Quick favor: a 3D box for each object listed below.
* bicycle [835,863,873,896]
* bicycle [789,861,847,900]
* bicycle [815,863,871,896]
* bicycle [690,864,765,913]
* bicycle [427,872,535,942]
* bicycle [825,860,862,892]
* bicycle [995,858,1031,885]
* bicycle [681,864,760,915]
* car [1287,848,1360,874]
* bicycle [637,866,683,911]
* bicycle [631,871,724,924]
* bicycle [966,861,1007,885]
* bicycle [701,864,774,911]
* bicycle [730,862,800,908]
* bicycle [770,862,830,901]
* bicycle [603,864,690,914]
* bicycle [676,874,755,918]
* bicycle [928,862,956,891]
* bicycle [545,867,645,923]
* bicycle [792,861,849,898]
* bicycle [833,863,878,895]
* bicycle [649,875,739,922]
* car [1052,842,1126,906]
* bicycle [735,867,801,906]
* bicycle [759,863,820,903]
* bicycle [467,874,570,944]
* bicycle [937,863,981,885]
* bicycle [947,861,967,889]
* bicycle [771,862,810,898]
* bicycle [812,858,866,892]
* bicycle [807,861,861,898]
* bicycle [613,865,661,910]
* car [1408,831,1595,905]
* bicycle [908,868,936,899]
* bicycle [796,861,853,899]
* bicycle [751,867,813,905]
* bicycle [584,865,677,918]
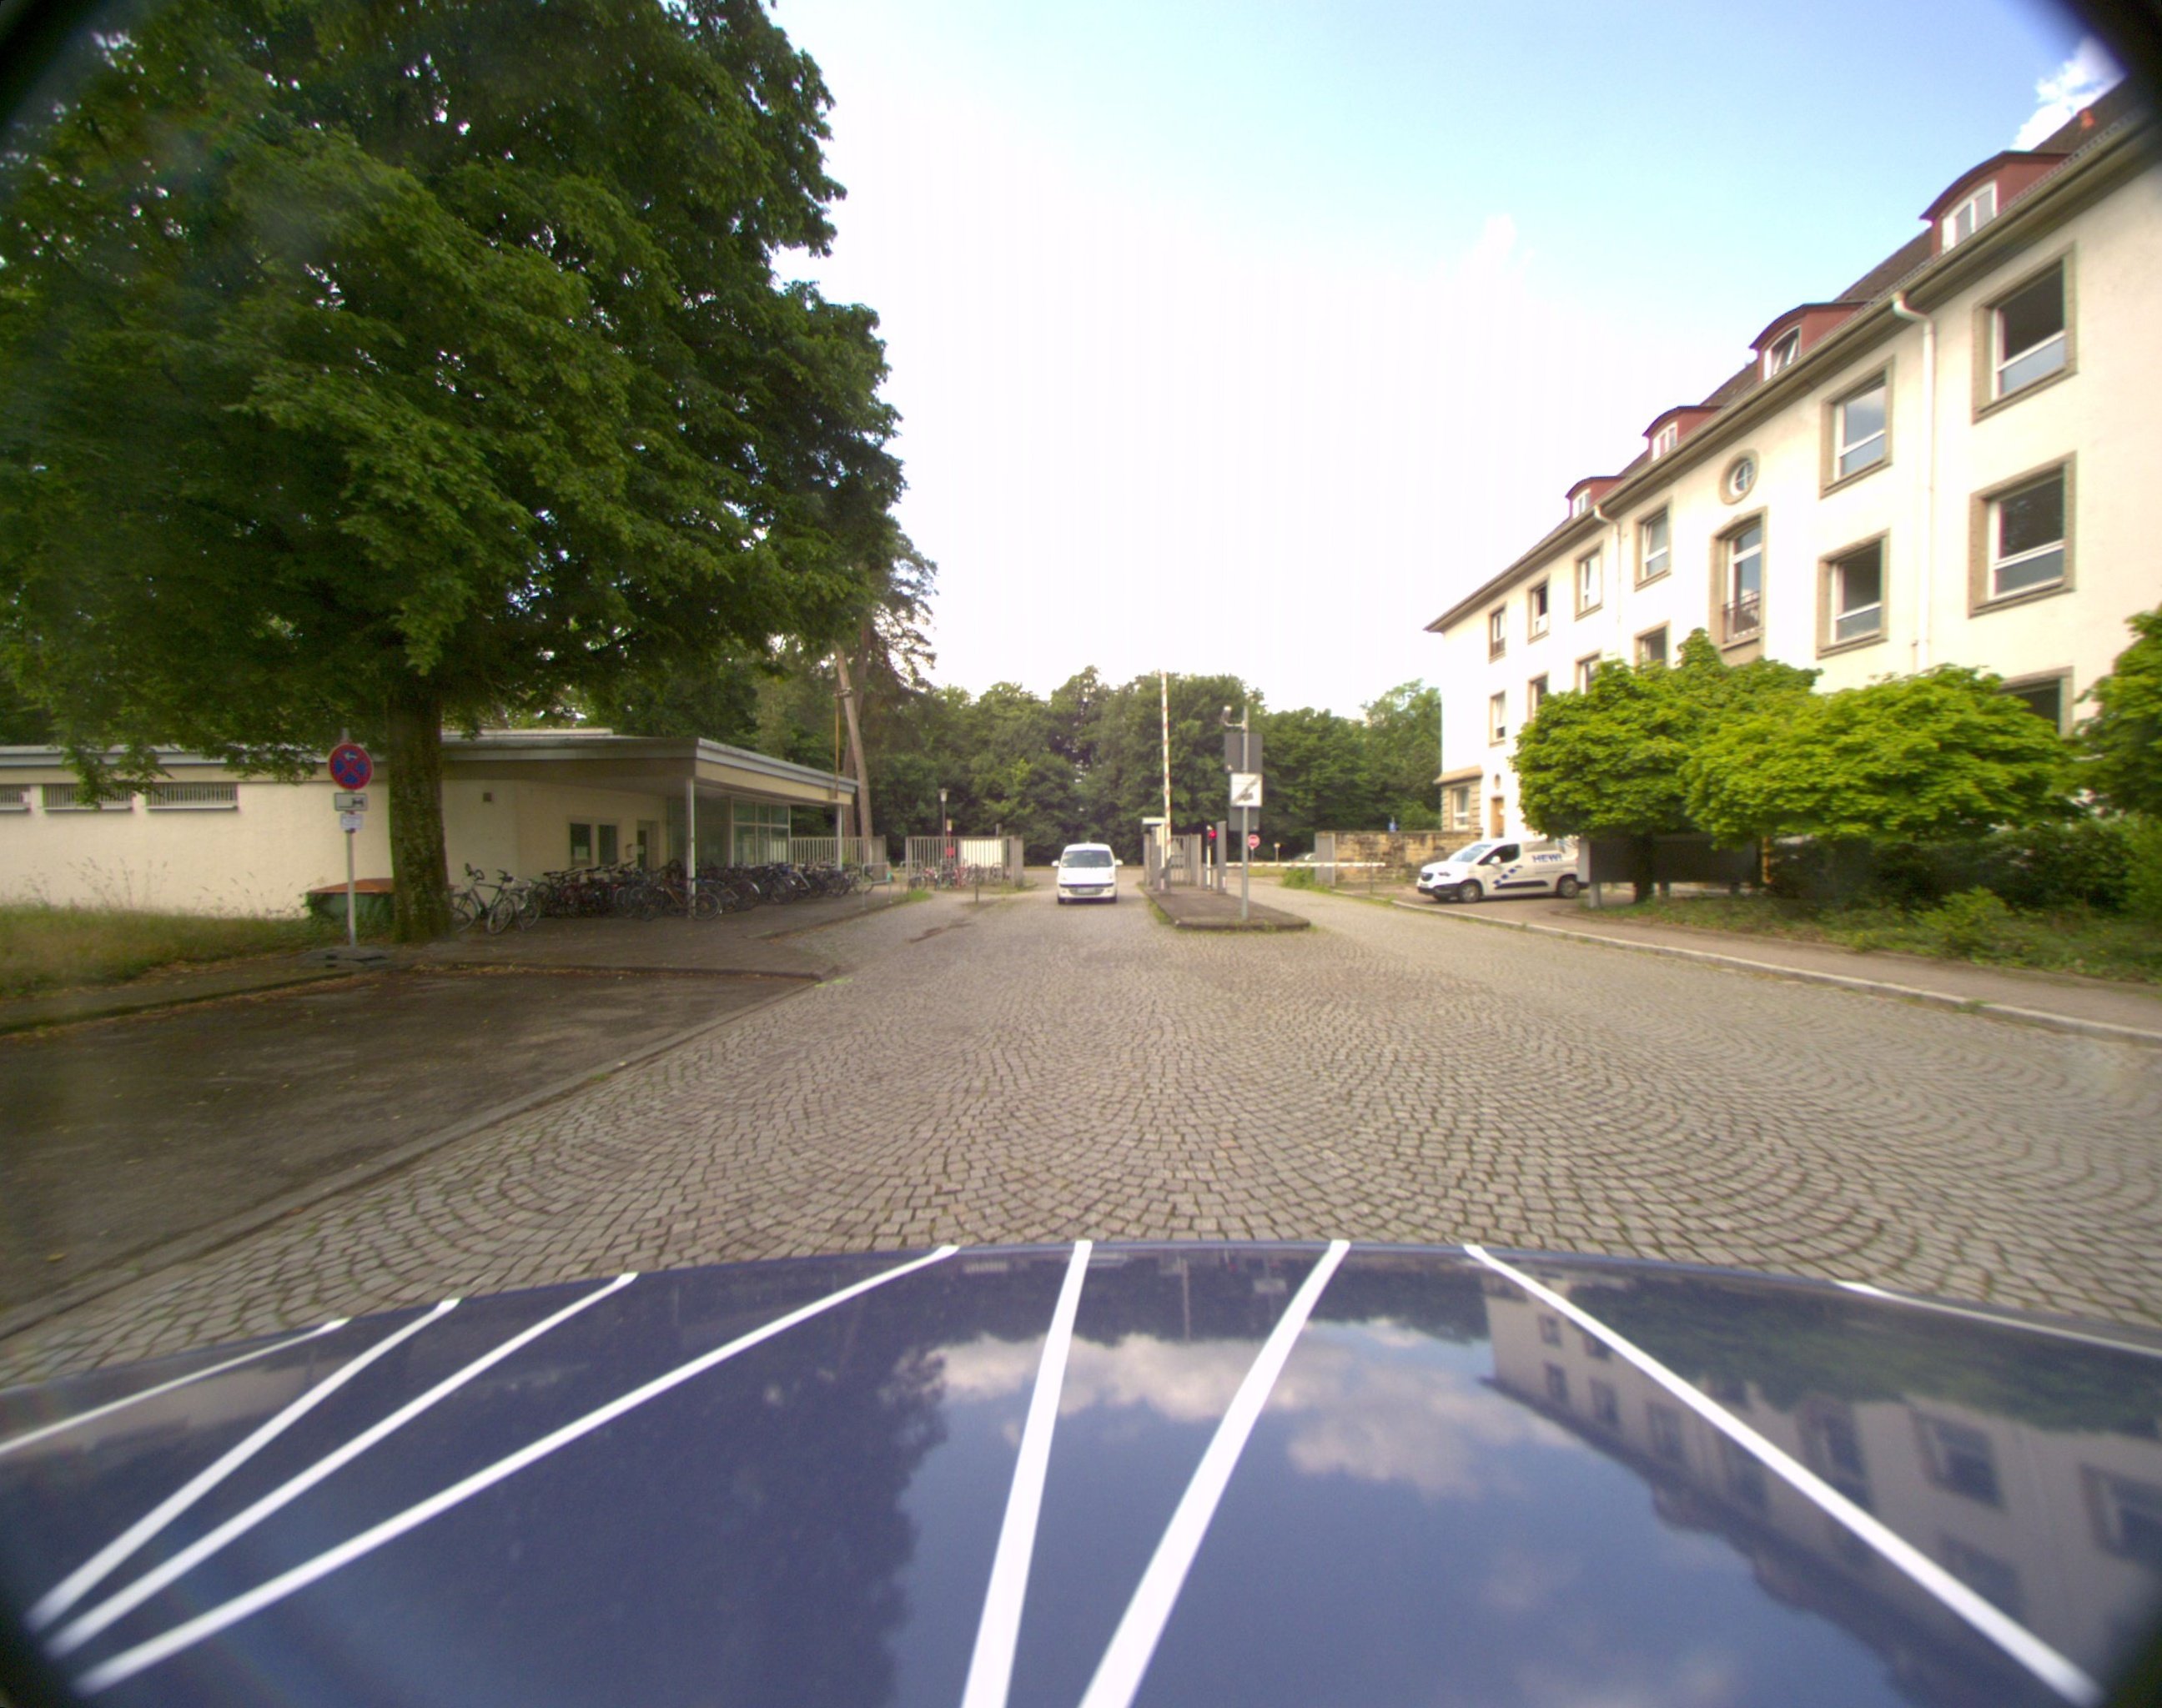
[{"bbox_3d":[-7.504,0.840,25.108,1.154,1.056,0.286,-1,1,-19],"label":"bicycle"},{"bbox_3d":[-7.969,0.794,23.052,1.617,1.134,0.325,1,1,-6],"label":"bicycle"},{"bbox_3d":[-8.093,0.859,25.916,1.753,1.040,0.453,-1,1,-37],"label":"bicycle"},{"bbox_3d":[-8.767,0.863,18.892,1.635,1.183,0.419,1,1,-11],"label":"bicycle"},{"bbox_3d":[-10.635,0.908,13.538,0.598,1.110,1.635,1,0,1],"label":"bicycle"},{"bbox_3d":[-8.785,0.801,28.195,0.648,1.132,1.681,0,1,8],"label":"bicycle"},{"bbox_3d":[-3.167,0.828,35.569,1.655,1.223,0.749,1,1,-6],"label":"bicycle"},{"bbox_3d":[-8.690,0.861,18.347,1.635,1.183,0.473,1,1,-12],"label":"bicycle"},{"bbox_3d":[14.628,0.403,46.030,3.994,1.509,1.803,-1,1,8],"label":"car"},{"bbox_3d":[-10.873,0.866,19.681,0.480,1.069,1.680,1,0,-9],"label":"bicycle"},{"bbox_3d":[-8.486,0.918,16.014,1.682,1.102,0.338,1,1,-12],"label":"bicycle"},{"bbox_3d":[-4.210,0.851,33.819,1.730,1.027,0.387,1,1,3],"label":"bicycle"},{"bbox_3d":[-8.798,0.856,19.505,1.635,1.183,0.419,1,1,-11],"label":"bicycle"},{"bbox_3d":[-8.426,0.834,20.298,1.635,1.183,0.498,1,1,-11],"label":"bicycle"},{"bbox_3d":[-8.362,0.823,22.634,1.617,1.134,0.325,1,1,-6],"label":"bicycle"},{"bbox_3d":[-10.549,0.853,18.493,1.745,1.158,0.608,1,1,-2],"label":"bicycle"},{"bbox_3d":[-8.517,0.969,17.728,1.638,0.970,0.322,1,1,-28],"label":"bicycle"},{"bbox_3d":[-5.230,0.836,28.654,0.692,1.056,1.565,0,1,2],"label":"bicycle"},{"bbox_3d":[-10.563,0.879,16.545,1.745,1.158,0.608,1,1,-2],"label":"bicycle"},{"bbox_3d":[-8.178,0.792,23.874,1.617,1.134,0.356,1,1,-6],"label":"bicycle"},{"bbox_3d":[-7.574,0.837,25.498,1.408,1.040,0.338,-1,1,-25],"label":"bicycle"},{"bbox_3d":[-8.602,0.978,16.924,1.749,0.970,0.757,1,1,-28],"label":"bicycle"},{"bbox_3d":[0.342,0.559,23.707,1.866,1.749,4.150,-2,0,5],"label":"car"},{"bbox_3d":[-8.586,0.883,20.898,1.636,1.044,0.334,1,1,-13],"label":"bicycle"},{"bbox_3d":[-8.420,0.833,21.965,1.596,1.134,0.325,1,1,-6],"label":"bicycle"},{"bbox_3d":[-9.983,0.941,13.548,0.598,1.110,1.635,1,0,1],"label":"bicycle"},{"bbox_3d":[-5.297,0.883,33.072,1.868,0.934,0.503,1,1,-3],"label":"bicycle"},{"bbox_3d":[-4.998,0.838,30.761,0.474,1.051,1.732,0,1,2],"label":"bicycle"},{"bbox_3d":[-9.266,0.812,24.277,0.491,1.069,1.832,1,0,1],"label":"bicycle"},{"bbox_3d":[-8.396,0.714,26.414,1.744,1.125,0.473,-1,1,-42],"label":"bicycle"},{"bbox_3d":[-7.977,0.821,24.570,1.617,1.134,0.356,1,1,-6],"label":"bicycle"},{"bbox_3d":[-11.446,0.853,19.629,0.480,1.069,1.680,1,0,-9],"label":"bicycle"},{"bbox_3d":[11.961,0.380,21.826,4.312,1.796,1.820,-3,1,0],"label":"car"},{"bbox_3d":[-5.369,0.974,25.797,0.535,0.947,1.655,0,1,2],"label":"bicycle"},{"bbox_3d":[-7.902,0.787,23.435,1.617,1.134,0.325,1,1,-6],"label":"bicycle"},{"bbox_3d":[-8.472,0.904,21.560,1.596,1.044,0.325,1,1,-6],"label":"bicycle"},{"bbox_3d":[-10.396,0.861,17.568,1.745,1.158,0.608,1,1,-2],"label":"bicycle"}]
